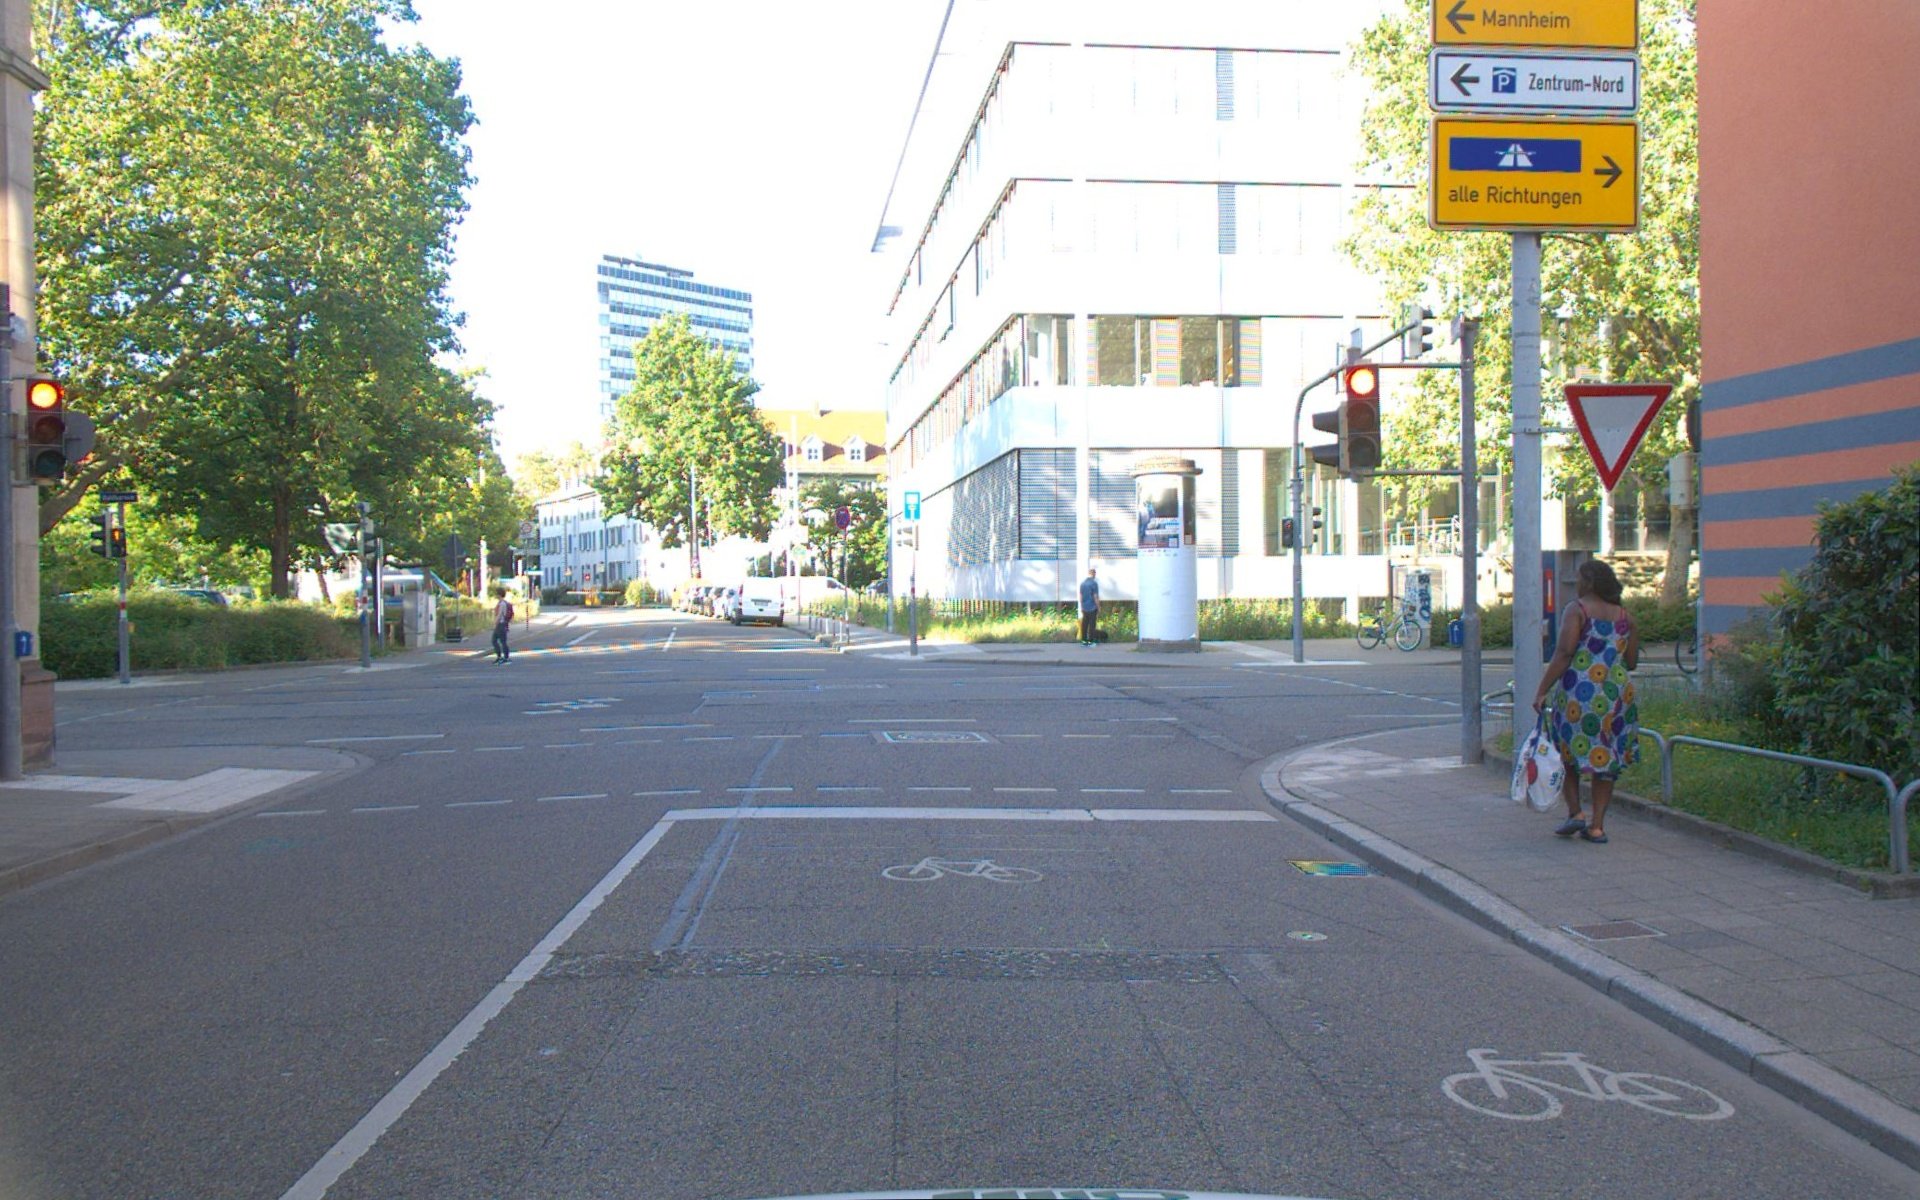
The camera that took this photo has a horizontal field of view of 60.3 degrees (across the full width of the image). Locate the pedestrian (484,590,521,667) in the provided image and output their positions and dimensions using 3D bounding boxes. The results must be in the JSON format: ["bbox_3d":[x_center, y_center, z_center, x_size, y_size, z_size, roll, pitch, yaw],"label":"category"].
[{"bbox_3d":[-9.880,0.611,35.733,0.699,1.627,0.616,-1,0,-11],"label":"pedestrian"}]

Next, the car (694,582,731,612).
[{"bbox_3d":[-12.806,-0.153,85.436,1.674,1.490,4.226,-1,1,-11],"label":"car"}]

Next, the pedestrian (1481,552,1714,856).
[{"bbox_3d":[3.607,0.565,9.422,0.935,1.600,0.750,-4,0,-2],"label":"pedestrian"}]

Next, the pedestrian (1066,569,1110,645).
[{"bbox_3d":[3.019,0.160,38.950,0.798,1.766,0.650,-1,0,45],"label":"pedestrian"}]

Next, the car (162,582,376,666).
[{"bbox_3d":[-15.760,0.516,37.915,4.146,1.808,1.901,-1,0,-9],"label":"car"}]

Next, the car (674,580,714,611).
[{"bbox_3d":[-15.378,-0.274,95.437,2.063,1.687,4.463,-1,1,-11],"label":"car"}]

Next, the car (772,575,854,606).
[{"bbox_3d":[-9.151,-0.566,102.694,4.804,1.905,1.990,0,-1,-17],"label":"car"}]

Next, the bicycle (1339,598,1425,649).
[{"bbox_3d":[9.227,0.504,36.260,0.460,1.067,1.886,-1,1,-42],"label":"bicycle"}]

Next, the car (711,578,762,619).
[{"bbox_3d":[-10.340,-0.090,76.366,1.913,1.826,4.224,-1,1,-13],"label":"car"}]

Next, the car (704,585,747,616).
[{"bbox_3d":[-11.515,0.000,80.972,1.675,1.449,4.223,-1,1,-14],"label":"car"}]

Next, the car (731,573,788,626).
[{"bbox_3d":[-7.859,-0.041,64.533,2.029,1.997,4.229,-1,1,-9],"label":"car"}]

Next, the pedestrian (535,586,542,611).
[{"bbox_3d":[-26.425,-0.109,103.656,0.373,1.561,0.444,-1,0,-13],"label":"pedestrian"}]
